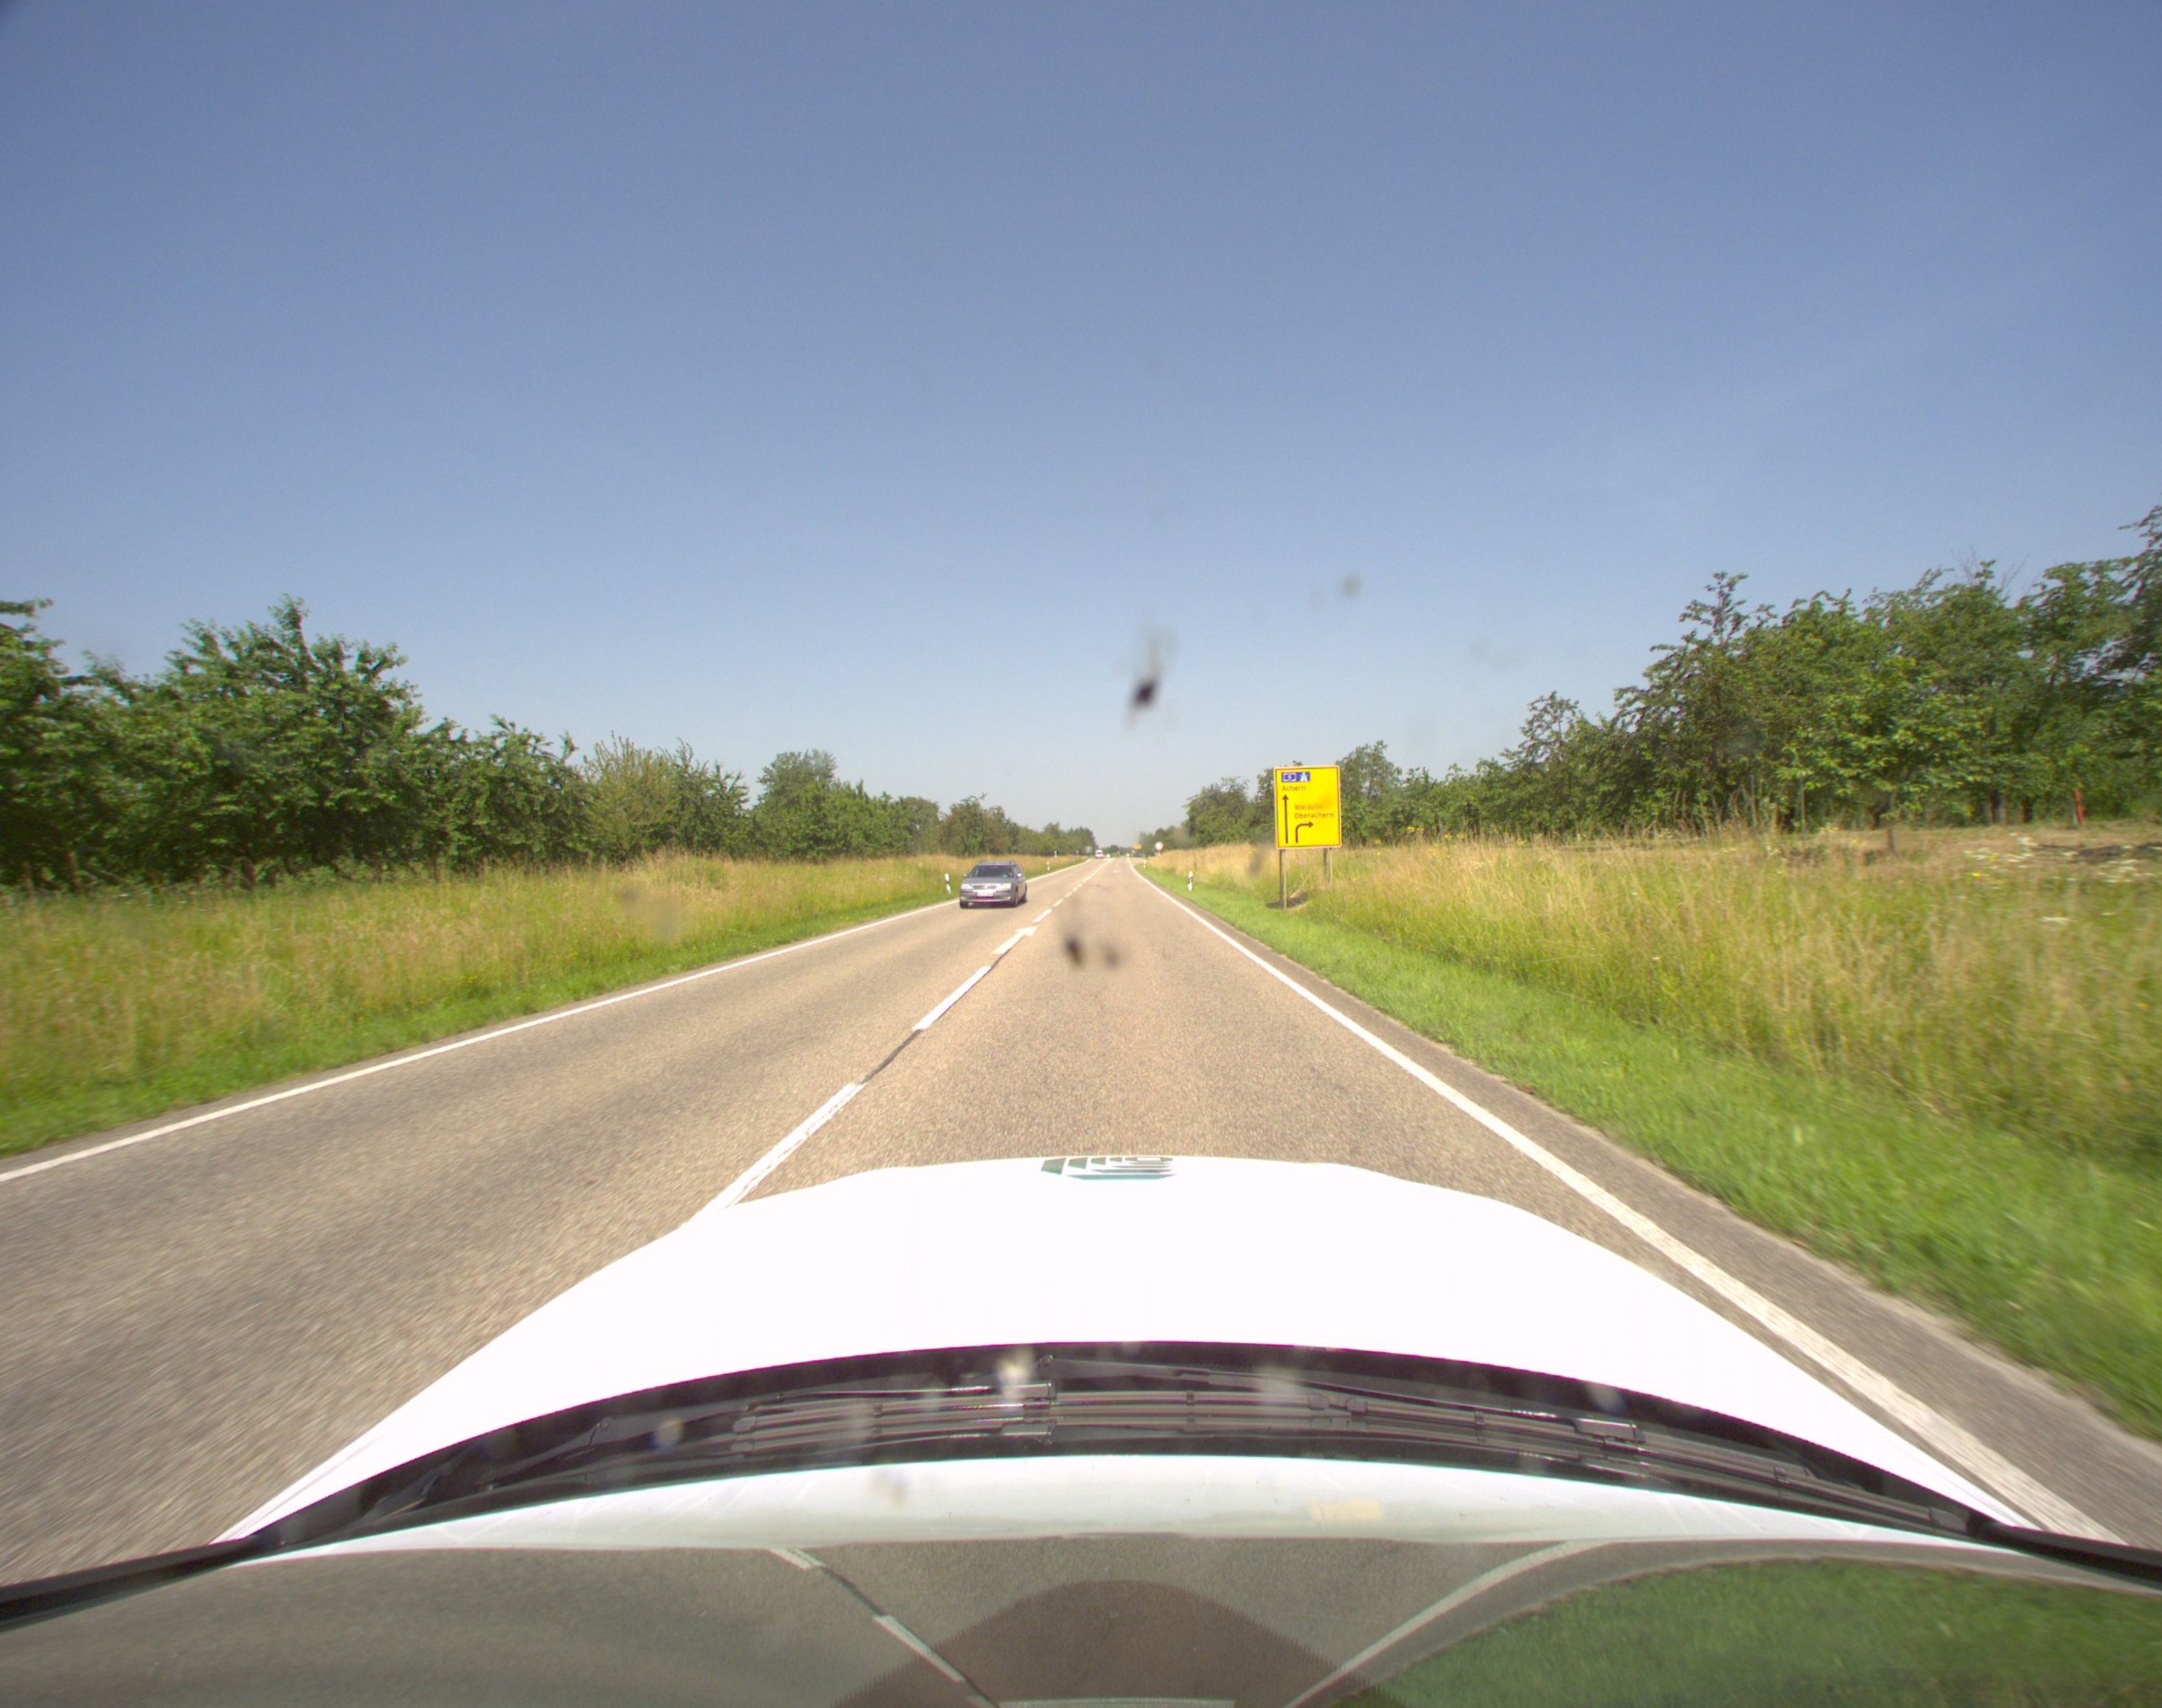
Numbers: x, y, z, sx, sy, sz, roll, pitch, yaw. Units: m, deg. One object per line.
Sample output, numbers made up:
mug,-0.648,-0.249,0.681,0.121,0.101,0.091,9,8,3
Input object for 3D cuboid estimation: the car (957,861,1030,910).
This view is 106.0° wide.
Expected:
car,-2.745,0.957,26.553,1.684,1.409,4.895,-1,0,1
